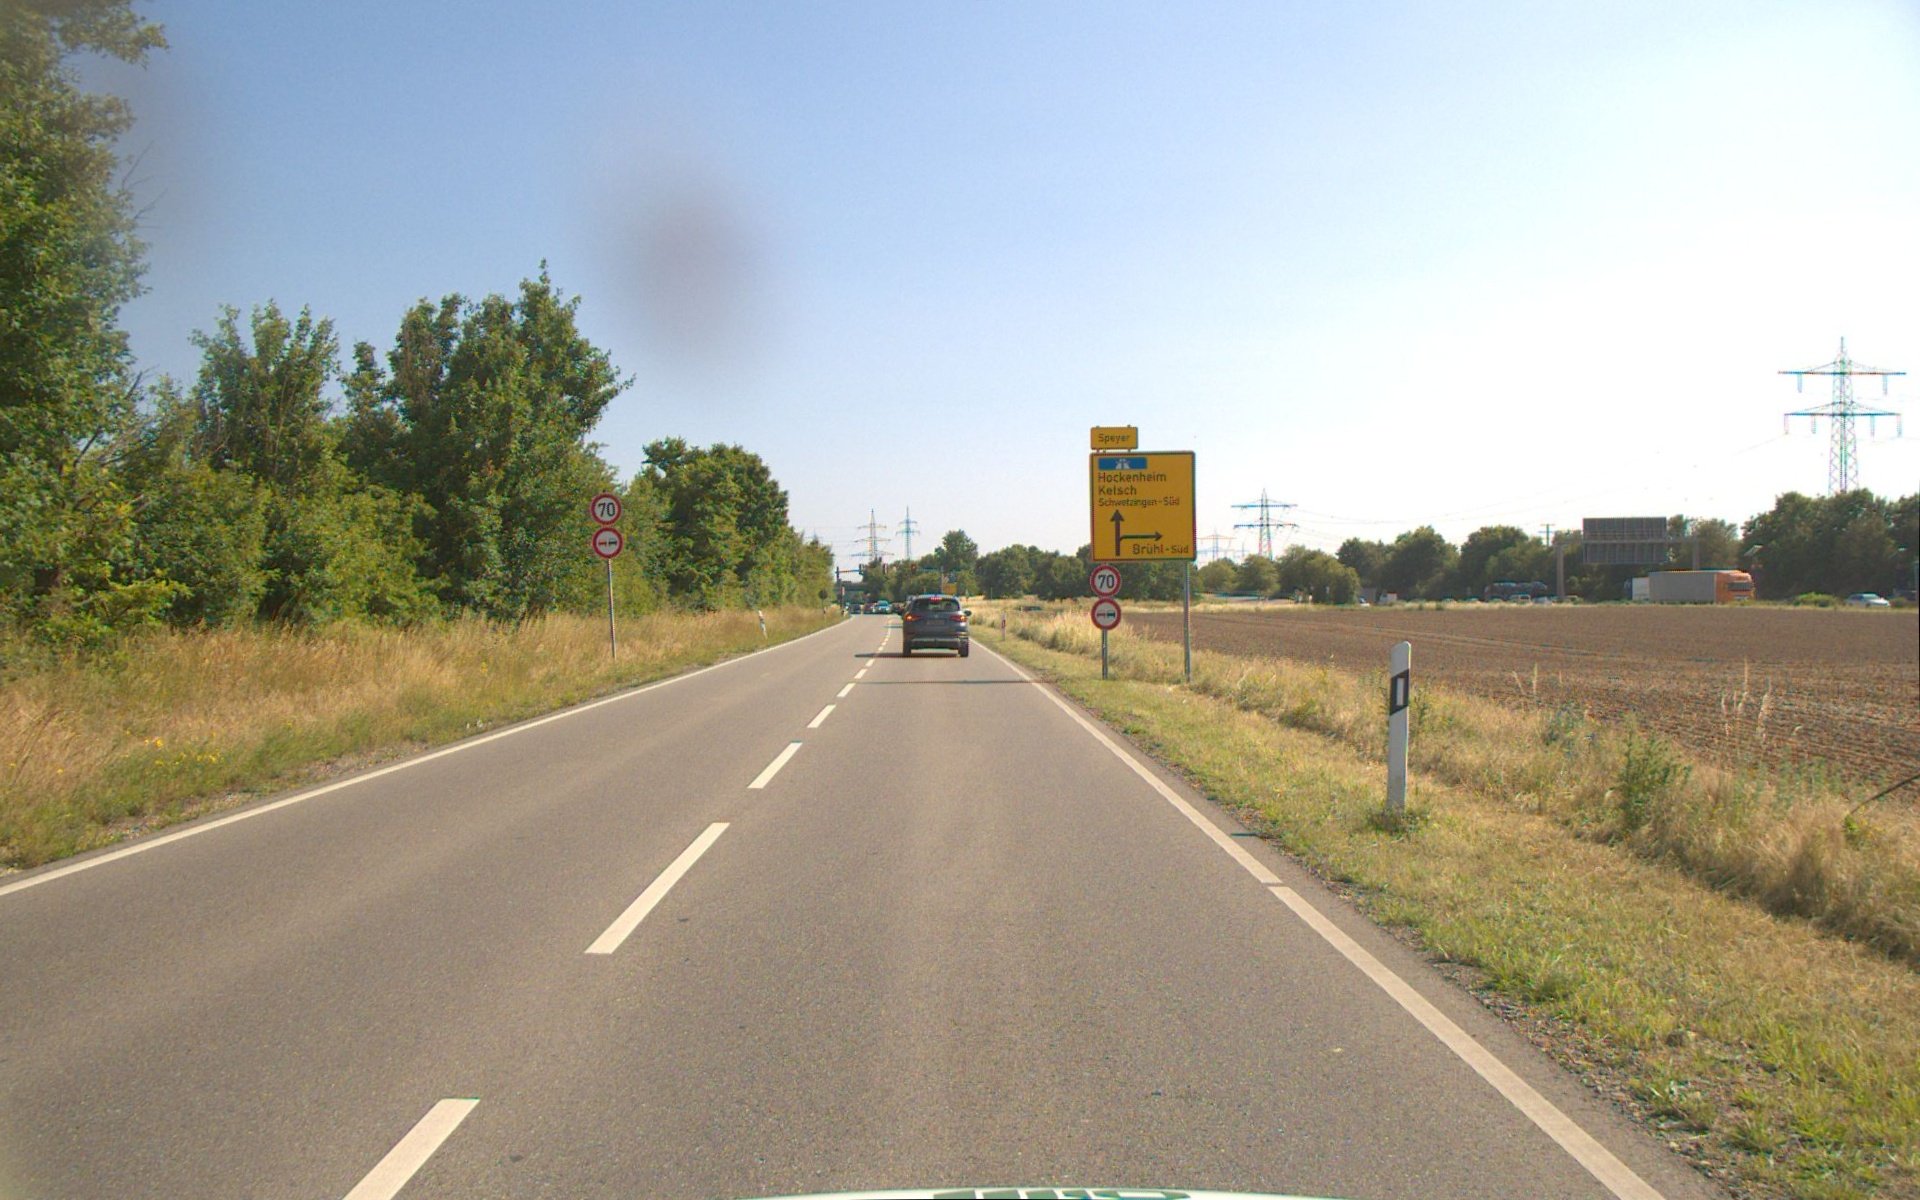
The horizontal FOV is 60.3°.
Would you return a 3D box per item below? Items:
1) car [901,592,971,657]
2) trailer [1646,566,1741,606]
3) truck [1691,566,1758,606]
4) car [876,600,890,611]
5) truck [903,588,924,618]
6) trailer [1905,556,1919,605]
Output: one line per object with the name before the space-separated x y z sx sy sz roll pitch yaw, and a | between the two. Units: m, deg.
car | -0.690 0.632 44.514 1.750 1.657 3.998 0 0 -3
trailer | 75.350 -1.374 170.370 3.041 3.916 13.708 0 0 -4
truck | 75.737 -1.371 164.023 3.042 3.916 6.945 0 0 -4
car | -10.908 0.793 233.740 1.781 1.567 3.995 -1 0 -6
truck | -4.999 0.374 178.618 2.290 3.120 5.807 0 -1 -1
trailer | 77.450 -1.445 124.942 3.011 3.868 14.582 0 1 -4
